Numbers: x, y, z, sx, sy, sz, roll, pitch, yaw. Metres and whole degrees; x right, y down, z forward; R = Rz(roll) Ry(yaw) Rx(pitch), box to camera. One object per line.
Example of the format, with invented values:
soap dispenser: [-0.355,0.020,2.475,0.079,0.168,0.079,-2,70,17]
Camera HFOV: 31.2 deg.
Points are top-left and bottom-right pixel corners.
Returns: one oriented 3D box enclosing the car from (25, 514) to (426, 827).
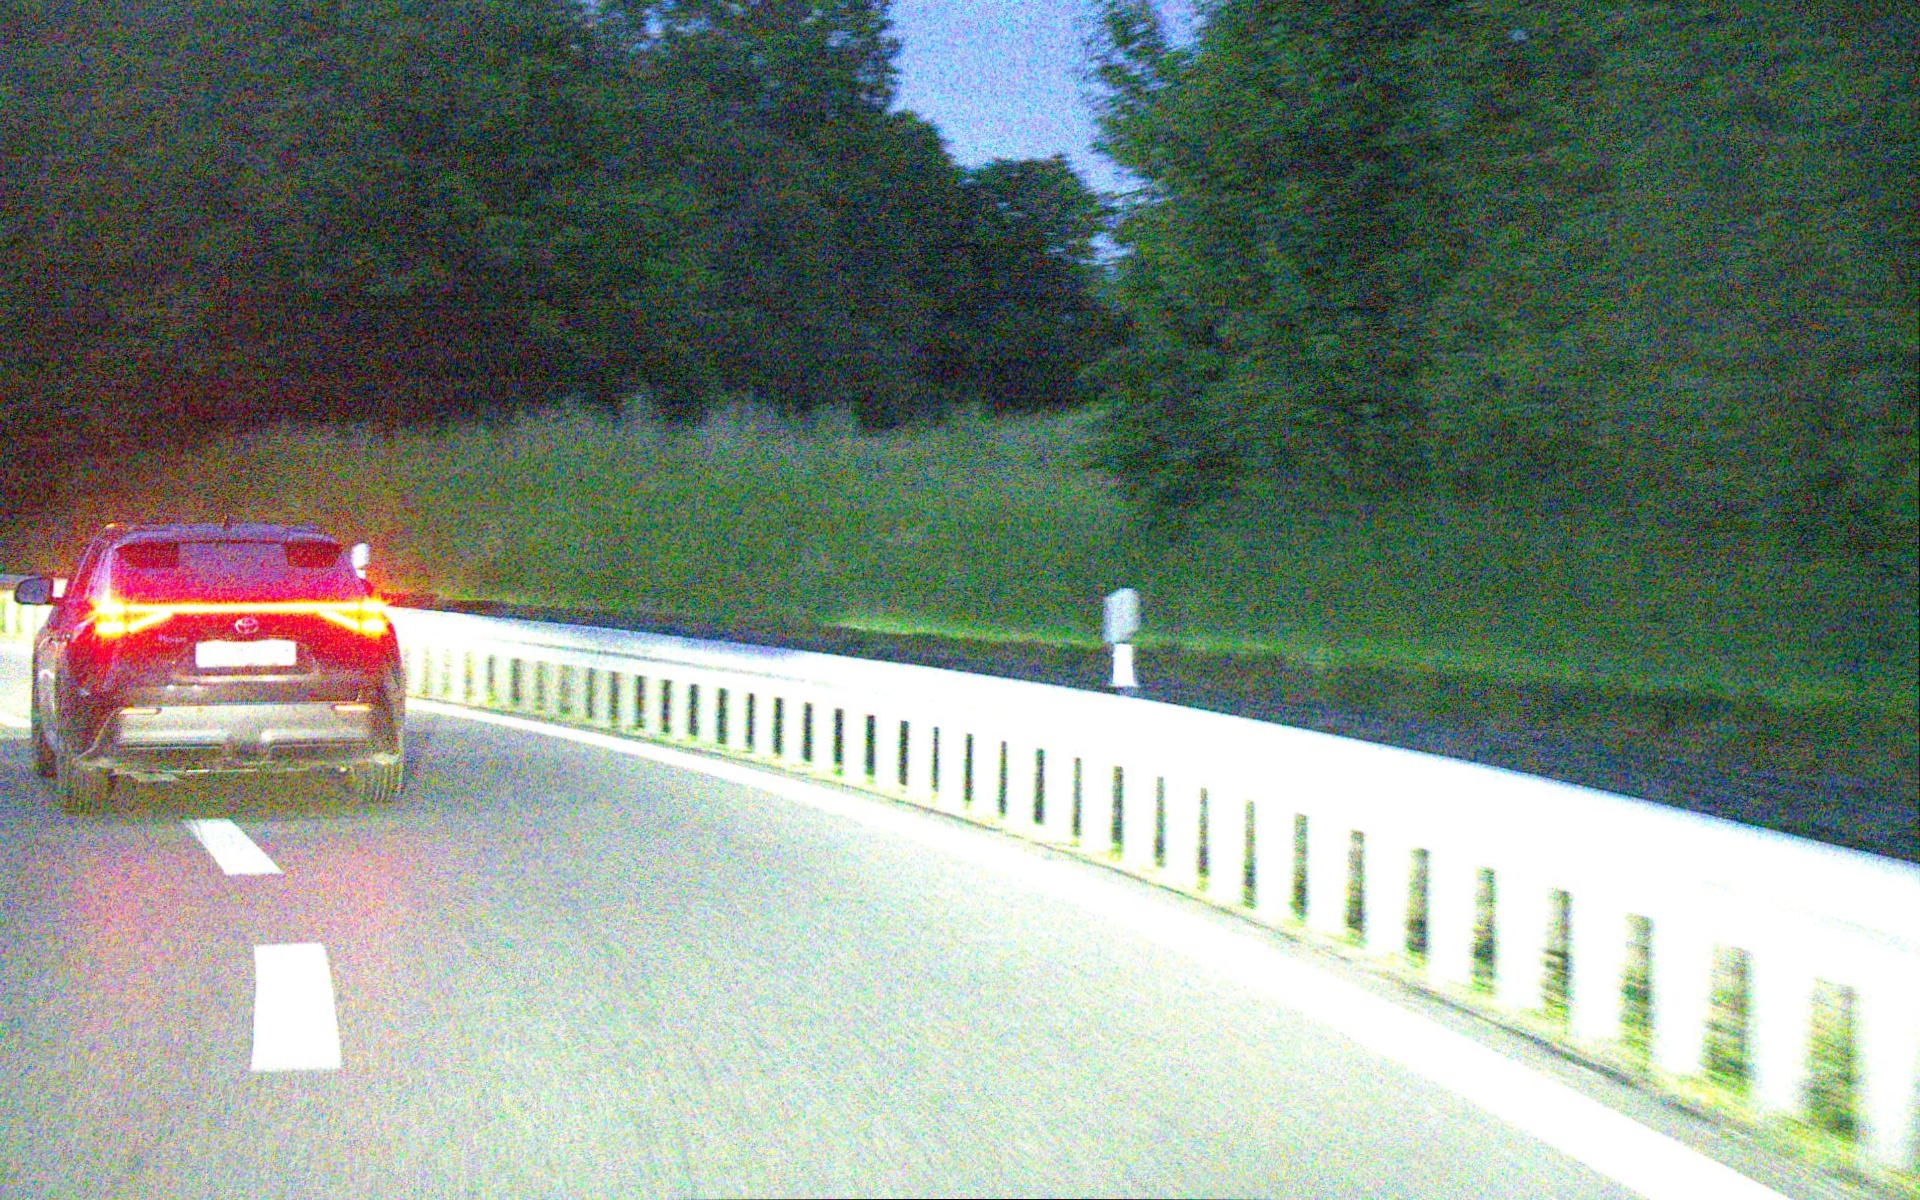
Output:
car: [-4.464,0.327,20.386,1.900,1.614,4.558,-1,1,-17]
